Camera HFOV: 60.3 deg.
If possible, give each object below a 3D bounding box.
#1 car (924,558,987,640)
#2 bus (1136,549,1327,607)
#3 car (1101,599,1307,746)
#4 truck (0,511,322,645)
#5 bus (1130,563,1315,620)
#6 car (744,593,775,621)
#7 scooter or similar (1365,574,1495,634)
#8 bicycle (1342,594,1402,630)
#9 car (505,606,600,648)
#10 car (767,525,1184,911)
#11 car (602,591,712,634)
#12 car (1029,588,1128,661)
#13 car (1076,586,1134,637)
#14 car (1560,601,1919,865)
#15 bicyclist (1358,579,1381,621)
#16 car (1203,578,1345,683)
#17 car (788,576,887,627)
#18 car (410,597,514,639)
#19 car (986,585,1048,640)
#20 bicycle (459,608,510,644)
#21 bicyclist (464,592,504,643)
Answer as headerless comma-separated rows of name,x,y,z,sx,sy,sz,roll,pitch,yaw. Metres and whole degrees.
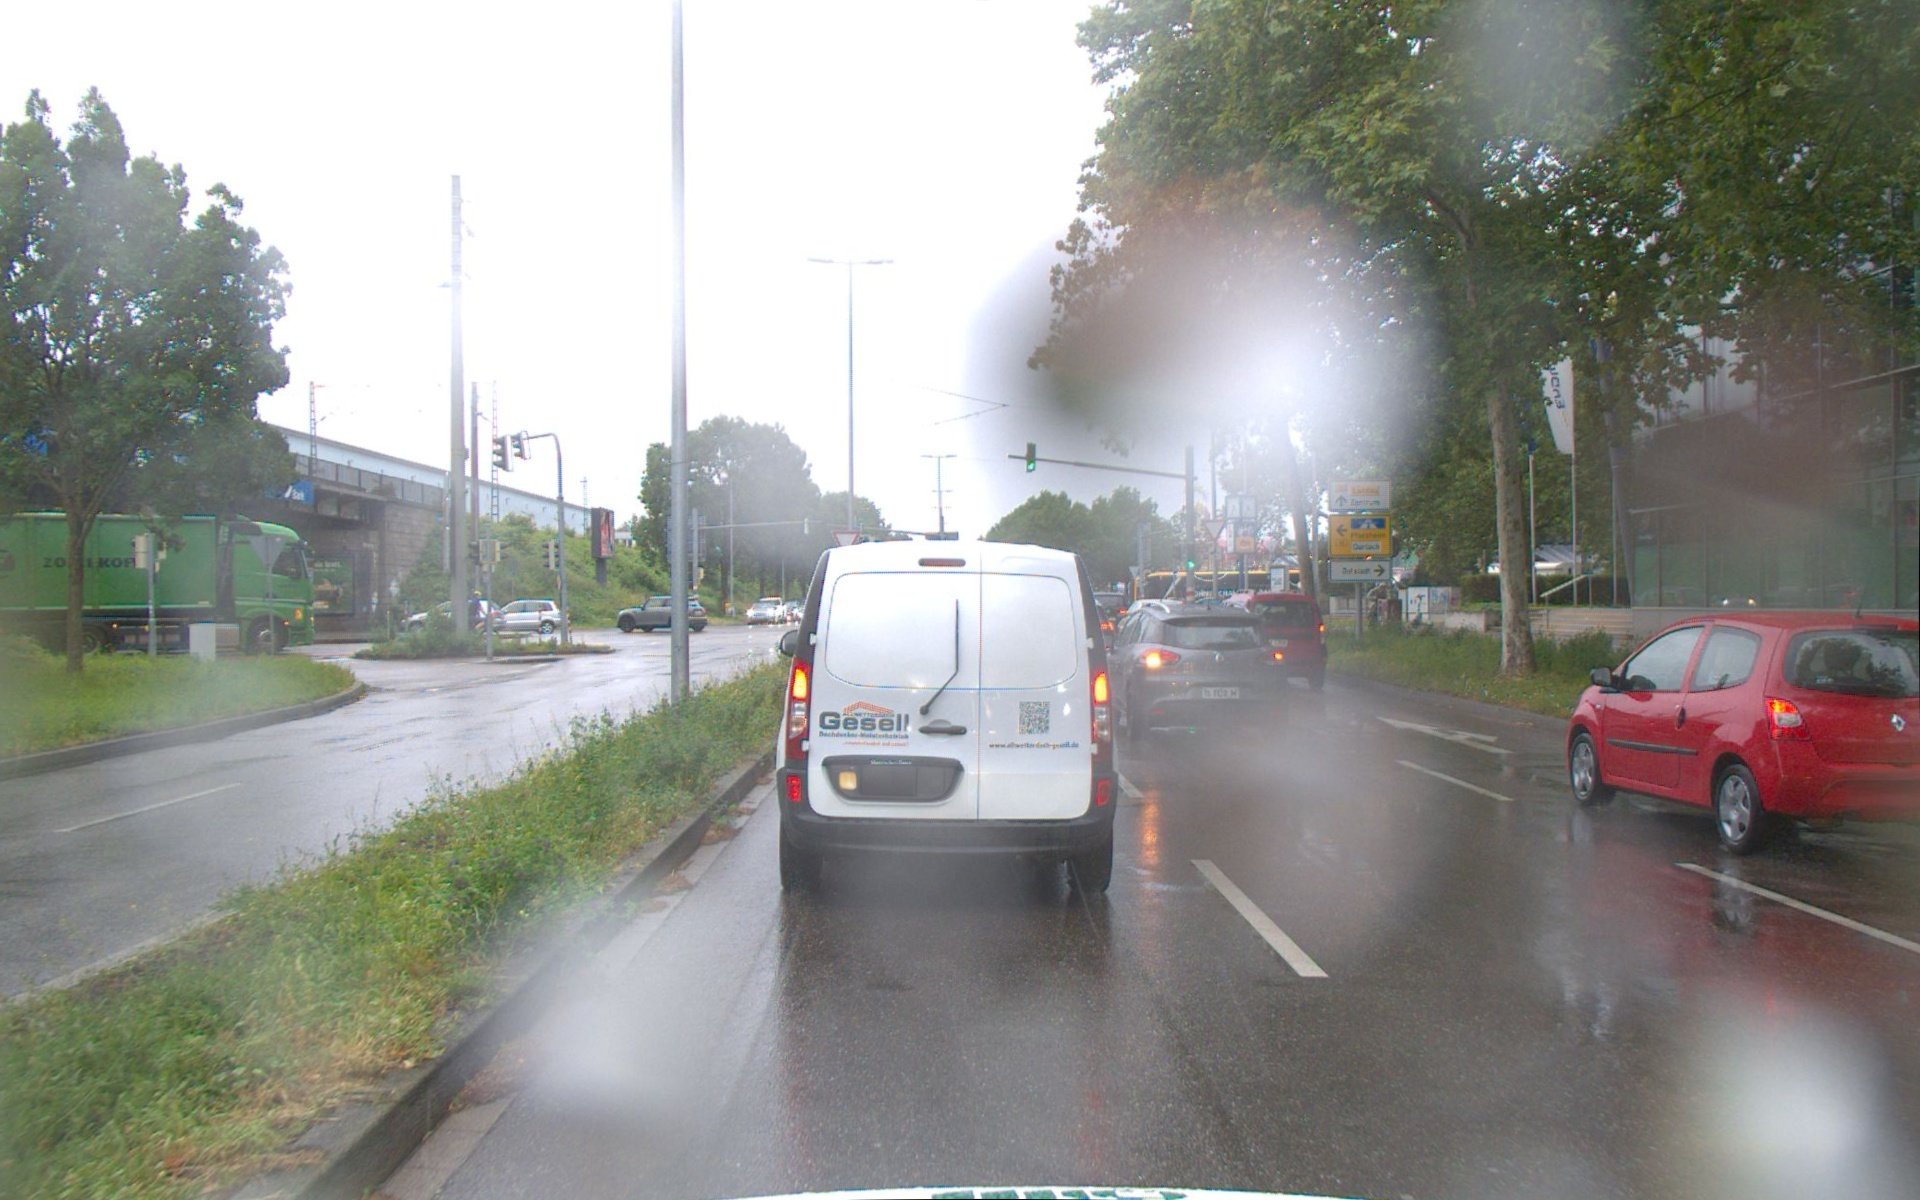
car,-0.152,-0.043,49.500,1.816,2.336,3.842,0,0,-1
bus,17.131,-1.384,104.755,11.726,3.483,2.315,-1,1,-1
car,2.631,0.730,18.622,1.649,1.433,3.842,1,0,-1
truck,-22.816,-0.581,45.034,9.955,3.430,2.316,0,0,-37
bus,17.237,-0.572,108.728,11.735,3.483,2.481,-1,1,-4
car,-12.100,0.404,99.900,1.439,1.586,3.507,-1,1,-1
scooter or similar,20.093,0.165,70.958,1.878,2.489,5.239,0,0,-40
bicycle,14.311,0.409,57.404,0.610,1.207,3.356,0,0,40
car,-18.367,1.200,74.525,3.930,1.747,1.987,-1,-1,-21
car,0.052,0.534,10.053,1.953,1.807,4.584,0,0,-1
car,-12.376,0.498,67.596,4.093,1.680,1.799,0,0,22
car,2.509,0.483,35.741,1.816,1.486,3.842,0,0,-1
car,5.129,0.384,58.761,1.673,1.758,3.842,0,0,-1
car,5.503,0.774,11.241,1.537,1.488,3.388,1,0,-2
bicyclist,14.175,-0.012,57.262,0.610,1.443,0.468,0,0,41
car,5.572,0.530,29.784,1.676,1.724,4.271,1,-1,-1
car,-4.696,0.034,62.852,1.978,1.847,3.949,-1,1,-36
car,-20.330,0.729,67.689,3.743,1.570,1.996,-2,-1,-8
car,1.801,0.366,53.042,1.816,1.678,3.842,0,0,-1
bicycle,-14.113,0.760,49.034,1.027,0.968,2.866,-1,1,-25
bicyclist,-14.116,0.521,49.047,1.028,1.475,0.723,-1,1,-25
